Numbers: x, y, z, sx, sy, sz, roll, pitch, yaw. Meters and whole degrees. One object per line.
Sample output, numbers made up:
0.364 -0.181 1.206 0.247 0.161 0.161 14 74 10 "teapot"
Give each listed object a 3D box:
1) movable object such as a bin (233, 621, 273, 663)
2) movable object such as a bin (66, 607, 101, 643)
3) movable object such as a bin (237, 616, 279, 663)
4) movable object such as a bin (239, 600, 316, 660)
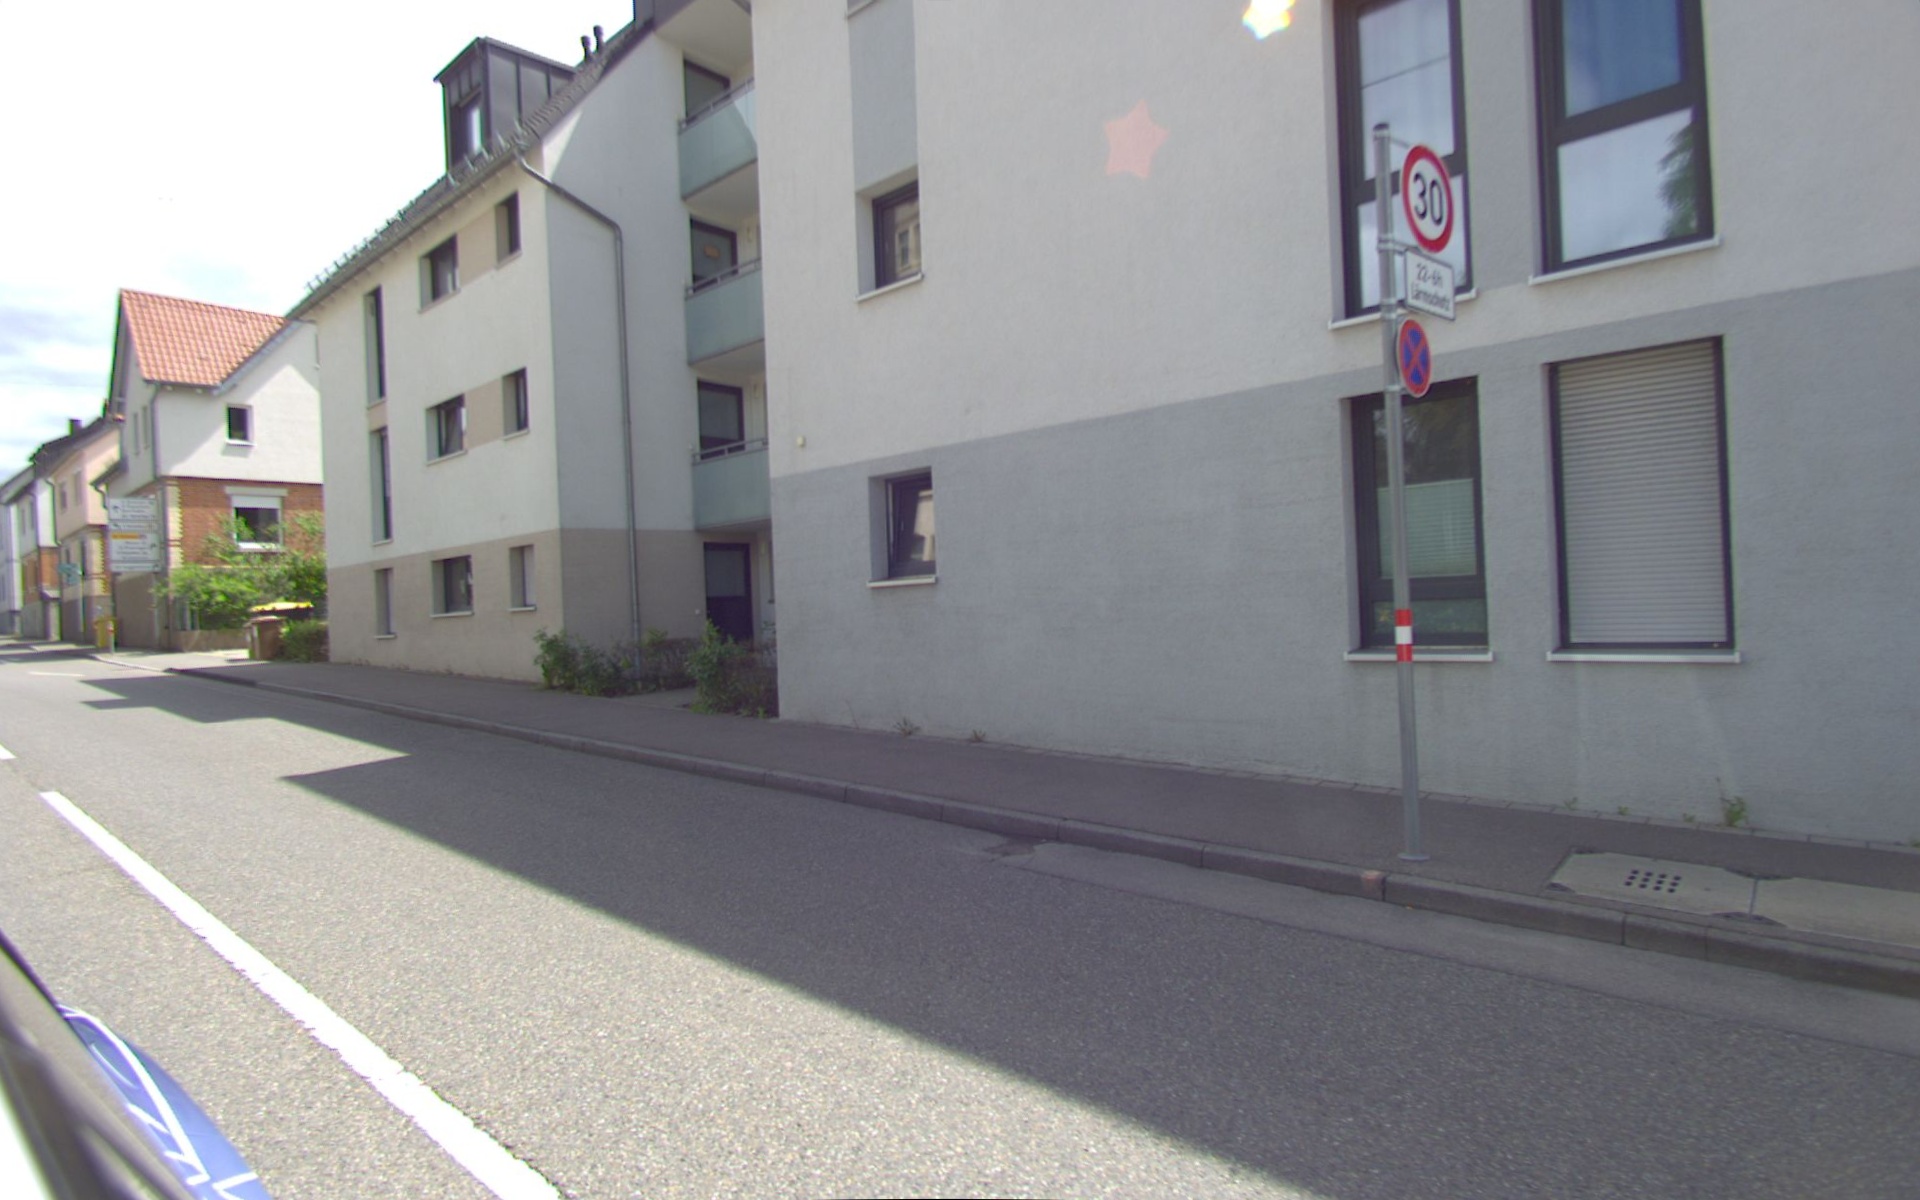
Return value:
-17.451 1.027 24.983 0.657 1.008 0.634 -1 1 40 "movable object such as a bin"
-30.723 0.855 35.468 0.802 1.170 0.757 1 4 40 "movable object such as a bin"
-16.946 0.952 24.427 0.659 1.083 0.634 -1 1 38 "movable object such as a bin"
-17.547 0.760 26.025 1.169 1.457 1.322 -1 1 37 "movable object such as a bin"
